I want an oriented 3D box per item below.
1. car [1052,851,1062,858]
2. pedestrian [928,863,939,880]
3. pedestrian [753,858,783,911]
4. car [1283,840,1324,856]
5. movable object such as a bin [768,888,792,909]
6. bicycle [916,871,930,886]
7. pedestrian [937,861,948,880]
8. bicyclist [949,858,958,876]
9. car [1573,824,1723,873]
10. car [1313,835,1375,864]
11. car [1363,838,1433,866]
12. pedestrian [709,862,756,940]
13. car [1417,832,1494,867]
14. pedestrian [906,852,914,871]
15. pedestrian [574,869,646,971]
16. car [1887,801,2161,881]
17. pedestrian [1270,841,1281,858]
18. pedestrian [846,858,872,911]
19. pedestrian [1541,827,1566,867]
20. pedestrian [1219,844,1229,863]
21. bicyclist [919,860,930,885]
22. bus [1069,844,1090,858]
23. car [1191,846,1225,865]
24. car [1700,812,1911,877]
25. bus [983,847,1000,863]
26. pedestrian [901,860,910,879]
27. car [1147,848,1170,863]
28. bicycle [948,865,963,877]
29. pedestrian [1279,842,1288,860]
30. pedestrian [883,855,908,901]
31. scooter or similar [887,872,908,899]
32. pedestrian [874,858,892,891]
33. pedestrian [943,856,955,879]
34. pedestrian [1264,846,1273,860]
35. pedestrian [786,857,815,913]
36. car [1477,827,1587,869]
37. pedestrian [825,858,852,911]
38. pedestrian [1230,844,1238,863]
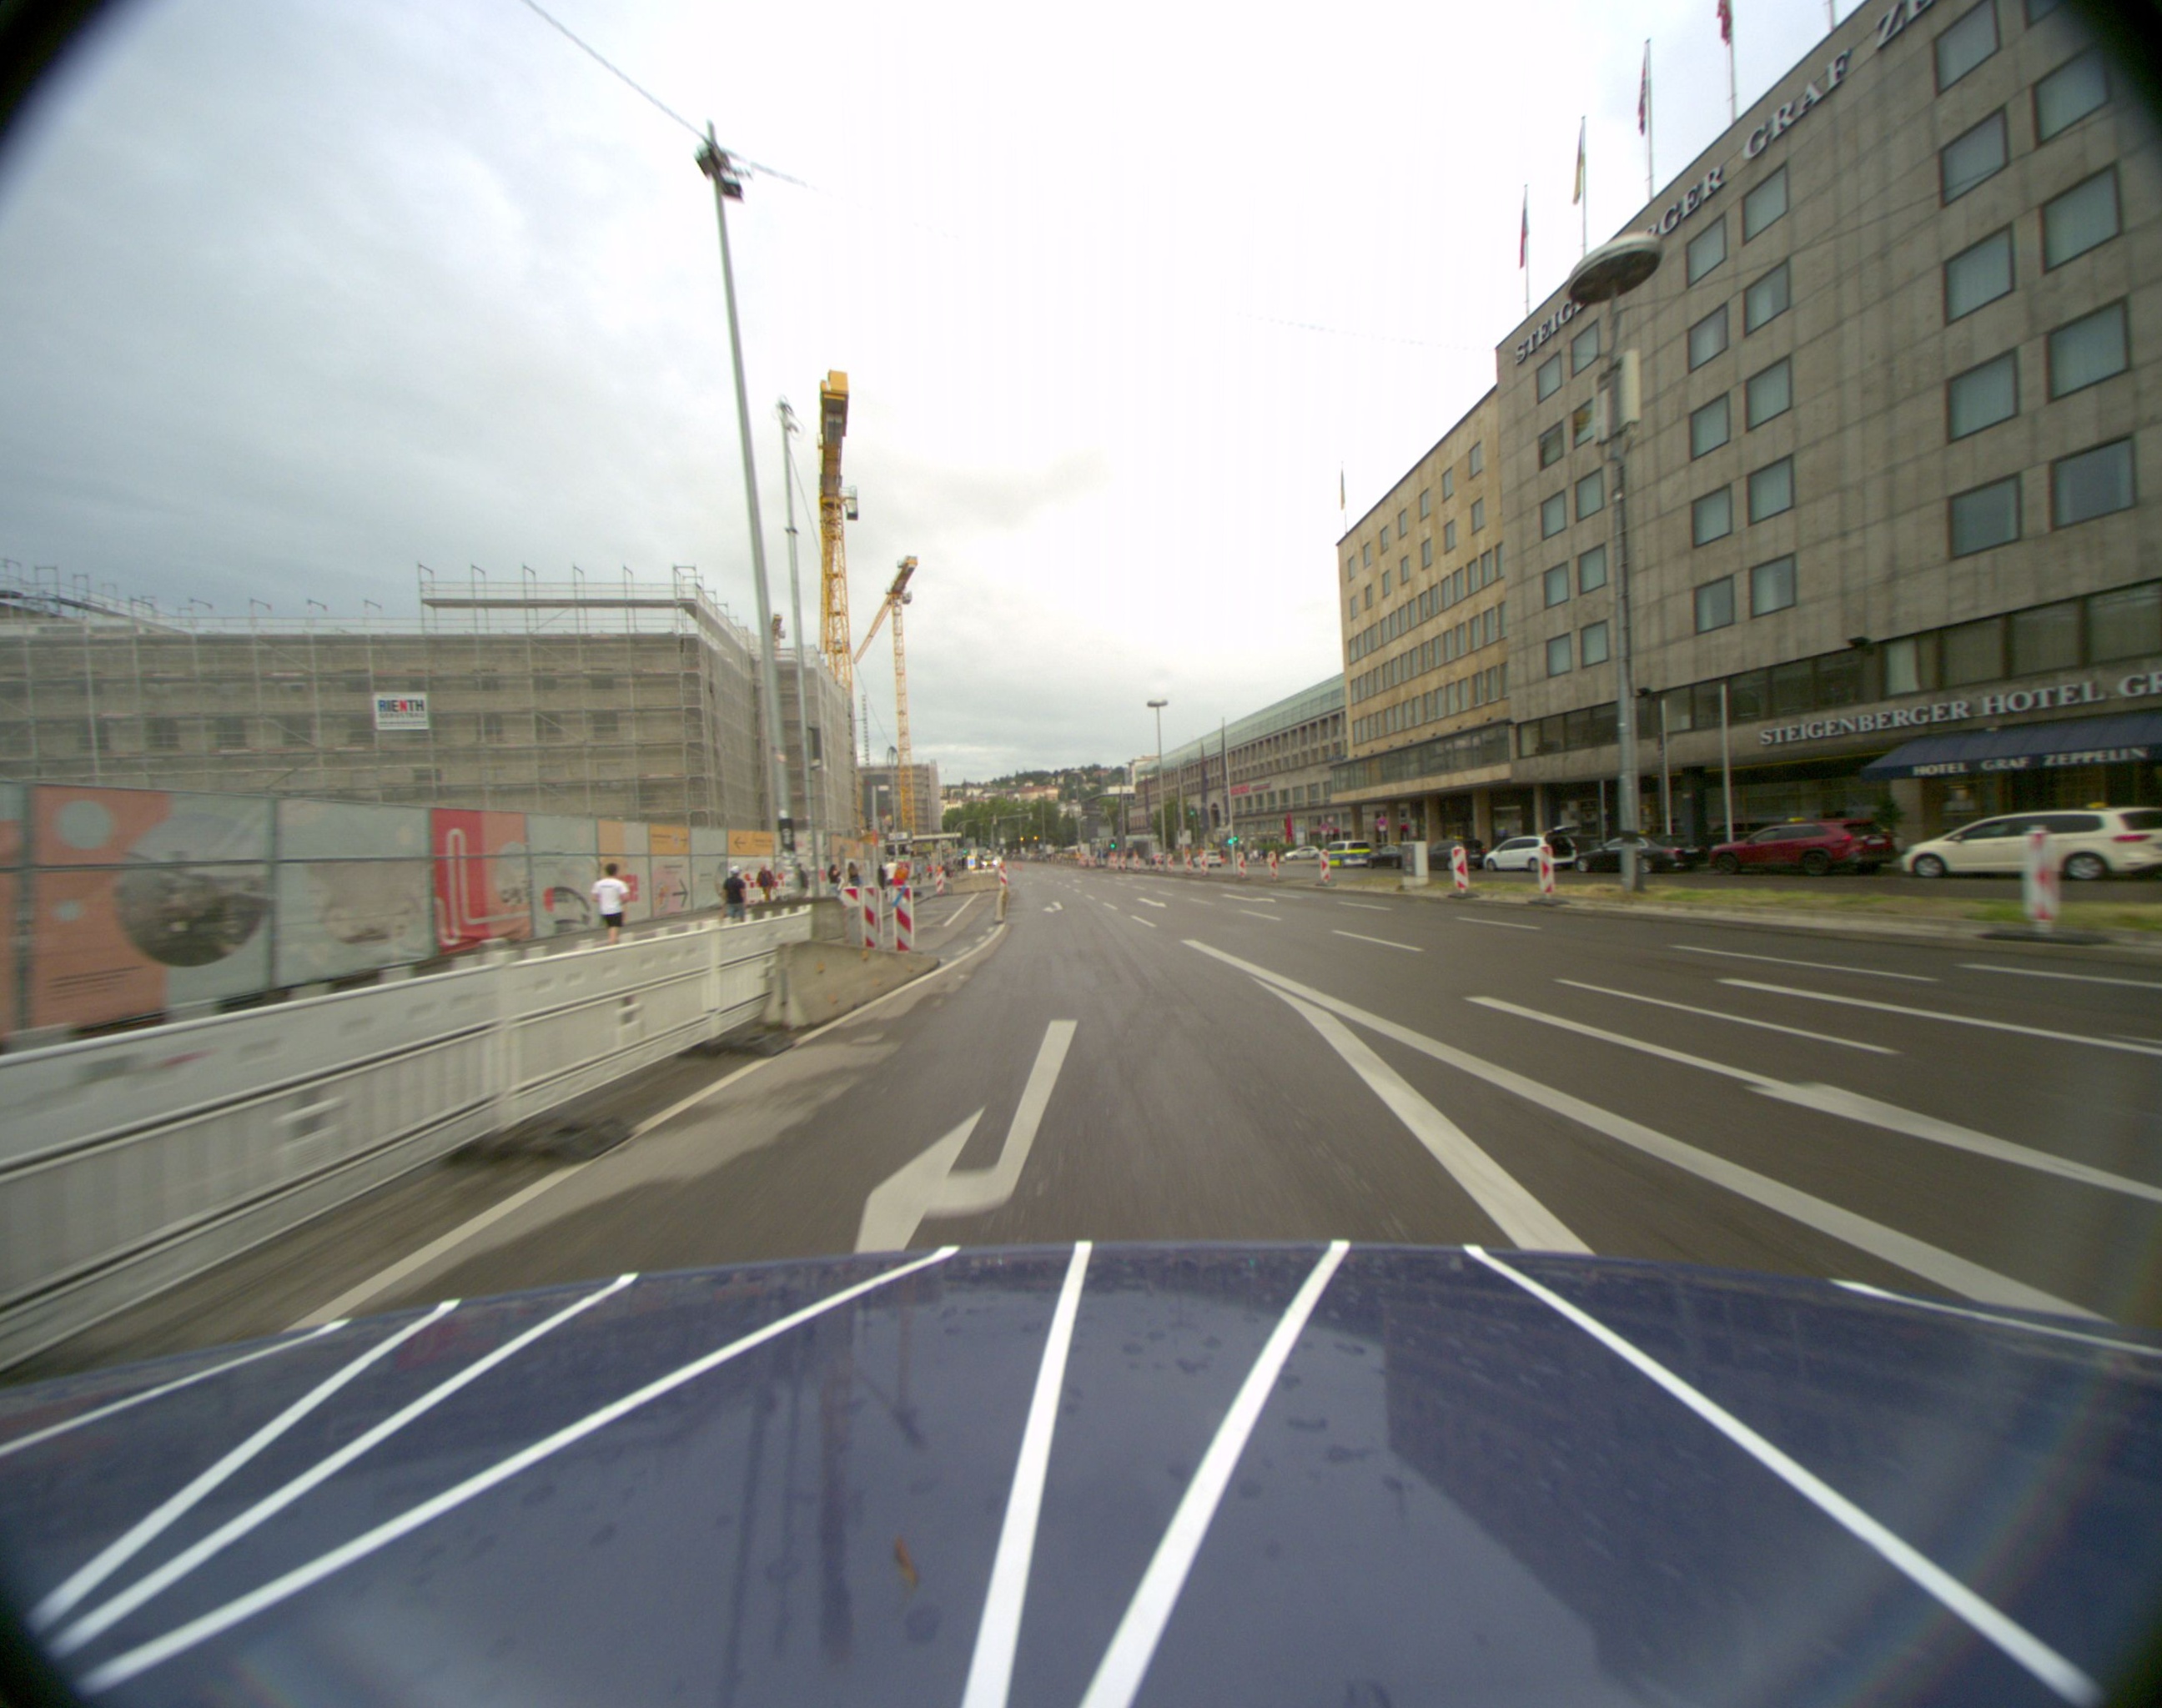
[{"bbox_3d":[-6.123,0.068,192.236,1.888,1.674,3.996,-3,1,-10],"label":"car"},{"bbox_3d":[-15.045,1.754,77.405,0.712,1.717,0.745,3,1,44],"label":"pedestrian"},{"bbox_3d":[-11.696,1.128,28.406,0.769,1.884,0.653,-3,1,-3],"label":"pedestrian"},{"bbox_3d":[25.275,-0.694,86.307,4.092,1.630,1.805,-3,1,-3],"label":"car"},{"bbox_3d":[-11.421,1.684,28.863,0.598,0.730,0.777,-3,1,-6],"label":"movable object such as a bin"},{"bbox_3d":[-12.949,2.016,62.373,0.768,1.105,1.980,-3,0,-3],"label":"bicycle"},{"bbox_3d":[-12.943,1.518,71.057,0.815,1.745,0.881,-3,1,-3],"label":"pedestrian"},{"bbox_3d":[-12.317,1.232,73.535,0.696,1.695,0.434,-2,1,10],"label":"bicyclist"},{"bbox_3d":[21.719,-0.193,29.377,1.909,1.650,4.613,-3,0,-8],"label":"car"},{"bbox_3d":[18.579,-0.283,53.913,1.906,1.917,5.072,-2,-1,-9],"label":"car"},{"bbox_3d":[19.349,-0.123,46.609,1.760,1.612,4.561,-3,1,-9],"label":"car"},{"bbox_3d":[-8.029,1.059,17.533,0.644,1.730,0.837,-3,1,-5],"label":"pedestrian"},{"bbox_3d":[20.009,-0.216,40.796,1.759,1.671,4.227,-3,0,-4],"label":"car"},{"bbox_3d":[-18.560,0.830,82.452,0.629,2.002,0.577,-3,1,-40],"label":"pedestrian"},{"bbox_3d":[-8.464,1.158,13.698,0.685,1.730,0.907,-3,1,-6],"label":"pedestrian"},{"bbox_3d":[23.175,-0.314,18.547,1.822,1.688,4.574,-3,1,-8],"label":"car"},{"bbox_3d":[18.610,-0.415,72.562,0.667,1.582,0.680,-3,1,-23],"label":"pedestrian"},{"bbox_3d":[-8.156,1.103,27.936,0.685,1.878,0.693,-3,1,-3],"label":"pedestrian"},{"bbox_3d":[22.038,-0.330,35.459,0.623,1.771,0.657,-5,2,-7],"label":"pedestrian"},{"bbox_3d":[14.991,-0.065,79.467,0.705,2.002,0.806,-3,1,-8],"label":"pedestrian"},{"bbox_3d":[-12.835,1.532,62.394,0.728,2.002,0.599,-3,1,-3],"label":"bicyclist"},{"bbox_3d":[-0.451,-0.711,174.898,2.911,2.923,9.813,-3,0,-11],"label":"bus"},{"bbox_3d":[12.154,0.119,72.849,1.830,1.659,4.496,-3,0,-8],"label":"car"},{"bbox_3d":[22.558,-0.283,23.976,1.907,1.757,4.644,-3,1,-6],"label":"car"},{"bbox_3d":[-18.939,0.201,160.125,3.001,3.119,7.758,-3,0,-10],"label":"bus"},{"bbox_3d":[-18.694,1.612,80.849,0.640,2.002,0.628,-2,1,16],"label":"pedestrian"},{"bbox_3d":[9.538,0.184,93.882,1.779,1.659,4.497,-2,0,-7],"label":"car"},{"bbox_3d":[-12.191,1.629,74.055,0.755,1.127,1.993,-1,1,11],"label":"bicycle"},{"bbox_3d":[18.985,-0.321,71.215,0.565,1.659,0.752,-3,1,-10],"label":"pedestrian"},{"bbox_3d":[-8.365,1.052,34.285,0.805,2.005,0.971,-3,1,-3],"label":"pedestrian"},{"bbox_3d":[-8.538,1.444,35.383,0.666,1.191,1.044,-3,0,-3],"label":"scooter or similar"},{"bbox_3d":[-11.940,1.230,45.853,0.851,1.884,0.662,-3,1,-3],"label":"pedestrian"},{"bbox_3d":[-11.745,1.235,67.620,0.788,2.000,0.865,-2,1,1],"label":"pedestrian"},{"bbox_3d":[17.990,-0.120,72.933,0.565,1.284,0.752,-3,1,-10],"label":"pedestrian"},{"bbox_3d":[-9.693,1.072,26.277,0.685,1.878,0.693,-3,1,-6],"label":"pedestrian"},{"bbox_3d":[20.851,-0.260,35.389,1.760,1.748,4.707,-3,1,-9],"label":"car"},{"bbox_3d":[-8.885,1.112,27.878,0.685,1.878,0.693,-3,1,-3],"label":"pedestrian"},{"bbox_3d":[15.647,-0.074,77.721,0.591,1.914,0.751,-3,1,-9],"label":"pedestrian"}]
